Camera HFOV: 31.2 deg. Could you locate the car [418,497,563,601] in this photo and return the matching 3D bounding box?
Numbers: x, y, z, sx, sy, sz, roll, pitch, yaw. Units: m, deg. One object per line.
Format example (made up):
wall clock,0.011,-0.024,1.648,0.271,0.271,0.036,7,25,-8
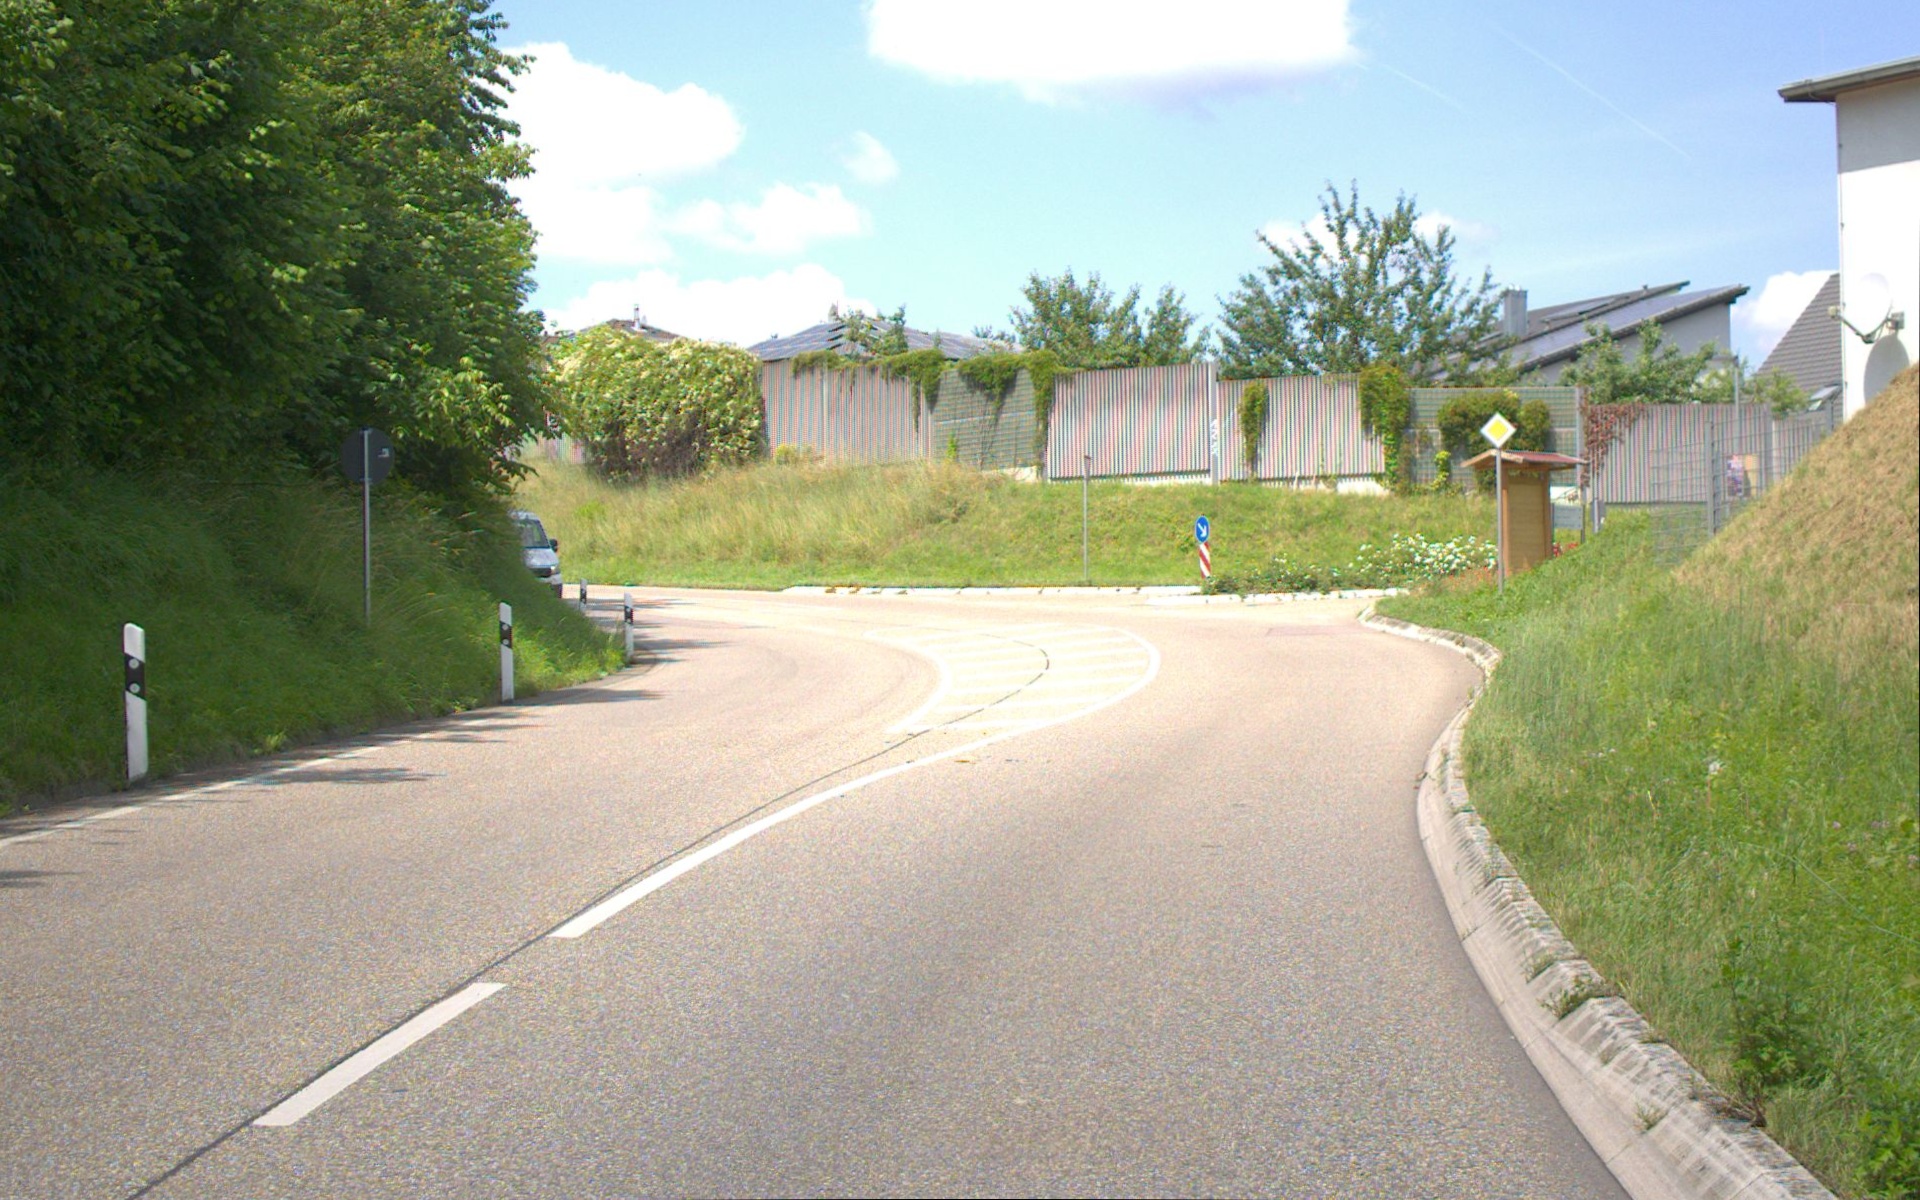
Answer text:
car,-11.067,-1.156,80.634,2.085,2.282,5.948,-2,1,-20
